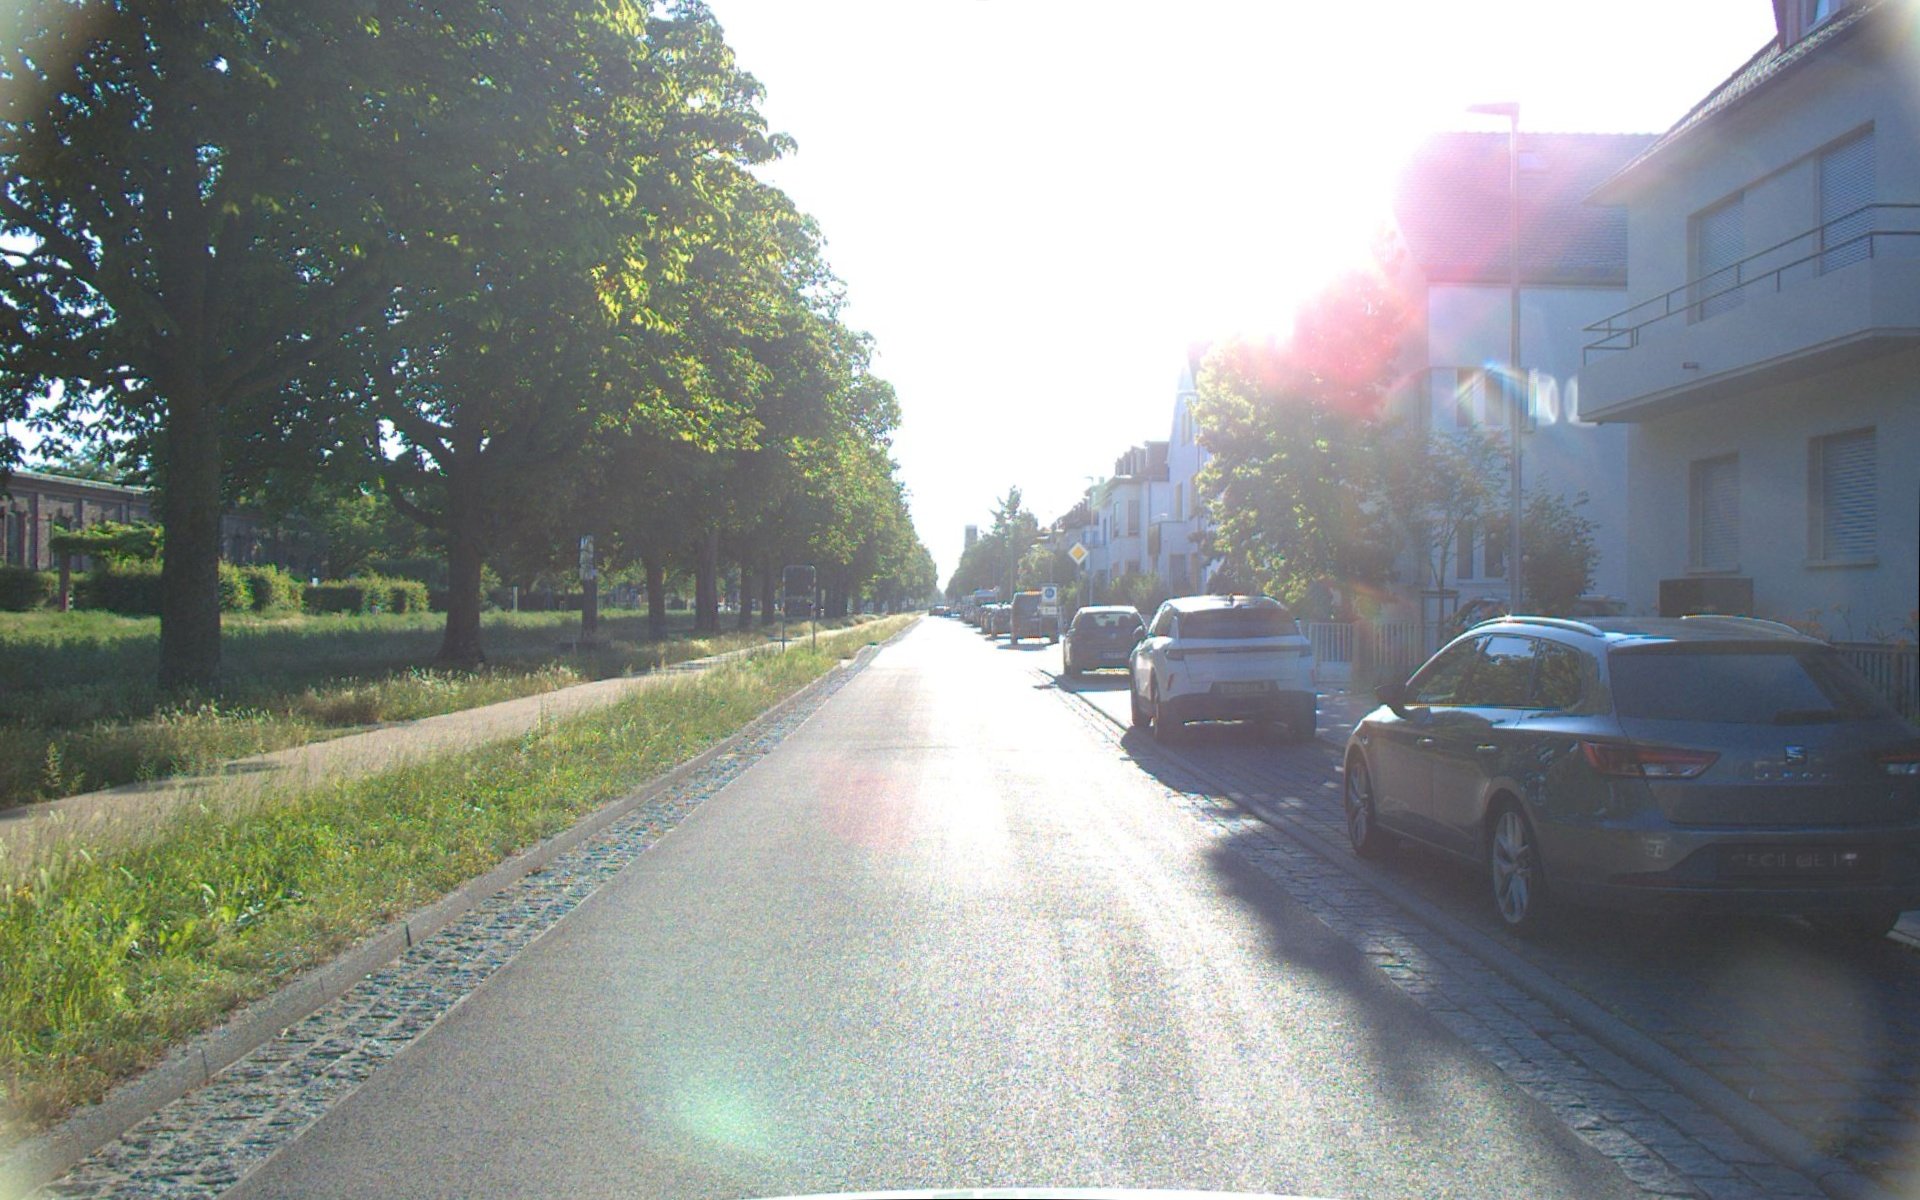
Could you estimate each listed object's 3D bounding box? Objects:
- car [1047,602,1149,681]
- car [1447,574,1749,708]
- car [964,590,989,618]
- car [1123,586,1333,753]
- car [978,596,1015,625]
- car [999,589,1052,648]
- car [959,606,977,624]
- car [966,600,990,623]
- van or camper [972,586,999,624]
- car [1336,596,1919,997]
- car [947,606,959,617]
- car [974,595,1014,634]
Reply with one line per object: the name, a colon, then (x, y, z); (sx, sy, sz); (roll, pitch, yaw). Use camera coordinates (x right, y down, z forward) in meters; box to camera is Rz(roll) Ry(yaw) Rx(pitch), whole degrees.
car: (2.883, 0.840, 35.360); (1.757, 1.508, 4.123); (-2, 0, -1)
car: (9.756, 0.602, 25.450); (3.906, 1.877, 1.813); (2, 1, -6)
car: (1.566, 0.336, 157.410); (2.084, 2.577, 5.186); (-1, 0, -3)
car: (3.141, 0.737, 20.293); (1.866, 1.738, 4.576); (-2, 1, 1)
car: (2.058, 0.603, 93.792); (1.684, 1.601, 4.206); (-2, 0, -4)
car: (2.546, 0.710, 65.348); (1.867, 2.169, 4.814); (-2, 0, 0)
car: (0.740, 1.339, 151.360); (1.616, 1.557, 3.851); (-1, 0, 1)
car: (1.285, 0.817, 120.580); (1.630, 1.621, 4.085); (1, 0, 0)
van or camper: (1.913, 0.411, 127.099); (1.904, 2.826, 5.938); (1, -1, 0)
car: (3.362, 0.770, 8.614); (1.757, 1.520, 4.193); (-2, 0, -1)
car: (-1.001, 1.732, 245.093); (1.616, 1.557, 3.851); (3, 0, 1)
car: (1.647, 0.702, 81.869); (1.757, 1.802, 4.472); (-2, 0, -1)
